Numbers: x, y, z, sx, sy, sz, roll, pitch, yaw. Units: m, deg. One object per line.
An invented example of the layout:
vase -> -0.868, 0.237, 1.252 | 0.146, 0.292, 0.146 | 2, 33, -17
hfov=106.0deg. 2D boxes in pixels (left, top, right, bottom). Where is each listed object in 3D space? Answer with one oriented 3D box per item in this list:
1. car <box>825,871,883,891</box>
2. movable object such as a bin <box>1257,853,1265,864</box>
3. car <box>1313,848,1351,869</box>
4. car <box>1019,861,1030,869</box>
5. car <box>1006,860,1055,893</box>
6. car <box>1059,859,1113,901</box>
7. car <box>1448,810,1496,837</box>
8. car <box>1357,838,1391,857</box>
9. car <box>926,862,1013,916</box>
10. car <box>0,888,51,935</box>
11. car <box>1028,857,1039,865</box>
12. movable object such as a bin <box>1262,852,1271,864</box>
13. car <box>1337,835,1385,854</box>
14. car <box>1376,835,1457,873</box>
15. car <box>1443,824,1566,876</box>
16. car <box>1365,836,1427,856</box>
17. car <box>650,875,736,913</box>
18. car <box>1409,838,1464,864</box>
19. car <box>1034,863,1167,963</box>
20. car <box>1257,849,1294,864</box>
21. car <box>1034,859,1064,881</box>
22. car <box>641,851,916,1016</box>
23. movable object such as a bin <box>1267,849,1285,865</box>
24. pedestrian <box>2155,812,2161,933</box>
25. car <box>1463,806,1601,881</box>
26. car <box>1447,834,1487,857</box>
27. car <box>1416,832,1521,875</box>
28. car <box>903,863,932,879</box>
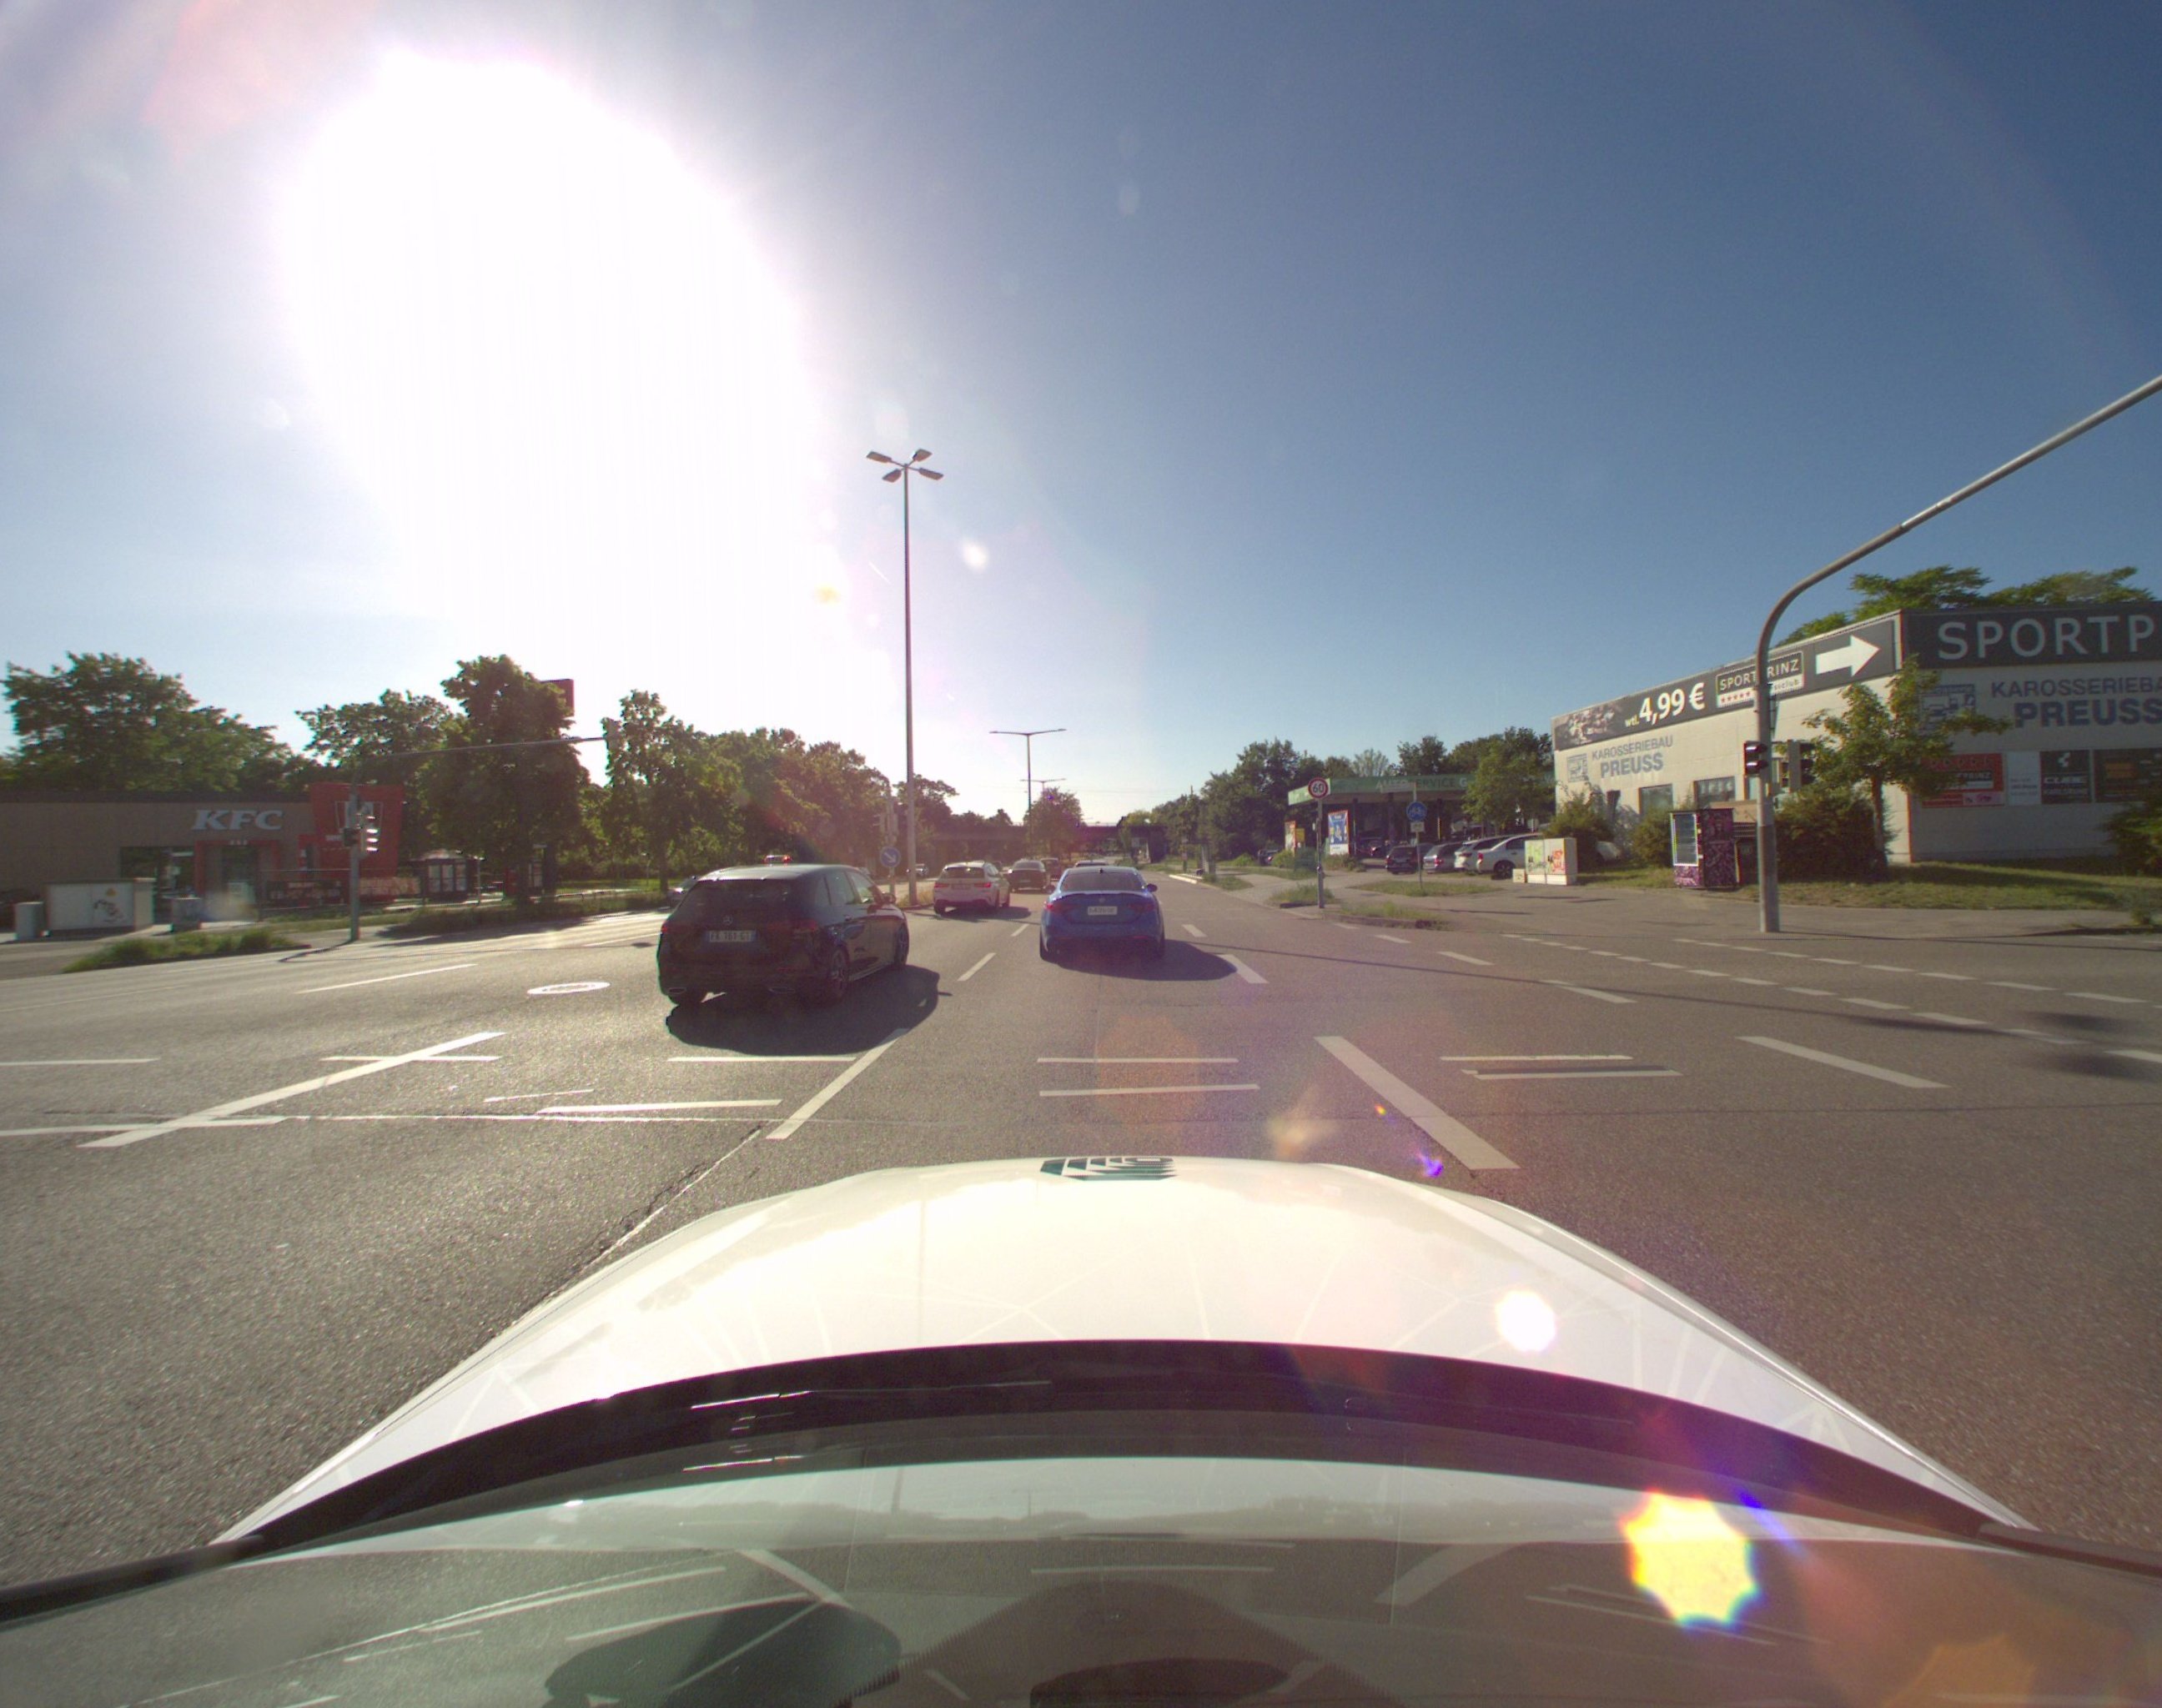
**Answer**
car -> -17.161, 2.028, 61.871 | 1.978, 1.376, 4.643 | -2, -1, 17
movable object such as a bin -> 16.979, 0.437, 76.817 | 0.585, 1.074, 0.504 | -1, 0, -40
car -> 19.424, 0.345, 63.231 | 1.737, 1.573, 4.251 | -2, 0, 3
car -> -10.992, 2.218, 159.572 | 1.635, 1.451, 4.112 | -4, -1, 1
car -> -2.303, 1.016, 38.184 | 1.876, 1.454, 4.527 | 0, -1, 1
car -> 0.231, 0.930, 30.907 | 1.876, 1.454, 4.527 | 0, -1, 1
car -> 29.394, -2.282, 61.373 | 1.911, 1.755, 3.780 | -3, -1, 3
car -> 27.143, -0.579, 75.540 | 1.707, 1.607, 4.137 | 0, -1, 2
car -> -3.255, 0.974, 24.555 | 1.876, 1.454, 4.527 | 0, -1, 1
car -> -41.491, 2.181, 31.114 | 1.905, 1.662, 4.192 | 0, -1, -41
car -> -10.005, 1.433, 170.885 | 1.811, 1.435, 4.632 | -4, -1, 1
movable object such as a bin -> 17.416, 0.409, 76.462 | 0.585, 1.121, 0.504 | -1, -1, -40
car -> 27.380, -0.897, 79.626 | 4.021, 1.531, 1.735 | -4, -1, 2
car -> 16.477, -0.017, 39.899 | 1.877, 1.531, 4.865 | -5, -1, 45
car -> 16.788, -0.157, 32.450 | 3.892, 1.452, 1.731 | -9, -2, 12
car -> 23.987, -0.583, 62.103 | 2.008, 1.486, 3.957 | 0, -1, -35
car -> -18.446, 1.846, 38.969 | 1.986, 1.525, 4.197 | -2, 0, 1
car -> 23.247, -0.170, 53.438 | 1.986, 1.647, 4.001 | 0, -1, 1
car -> 0.329, 0.859, 13.652 | 1.876, 1.406, 4.225 | 0, -1, 1
car -> 19.435, 0.249, 81.463 | 3.270, 1.486, 1.773 | 0, -1, 3
car -> -2.197, 1.086, 57.064 | 1.773, 1.454, 4.183 | -2, 0, 1
car -> -3.381, 0.800, 10.050 | 1.701, 1.598, 4.225 | 0, -1, 1
movable object such as a bin -> 18.102, 0.275, 75.615 | 0.994, 1.428, 1.245 | -1, 0, -41
pedestrian -> 13.549, 0.327, 9.644 | 0.754, 1.716, 0.618 | -2, -1, 1
car -> 16.098, -0.353, 29.145 | 3.948, 2.013, 1.697 | -10, -1, 34
car -> 25.322, -0.581, 53.383 | 1.671, 1.421, 3.727 | -1, 1, 36
car -> 16.842, -0.022, 35.541 | 3.592, 1.290, 1.842 | -9, -2, 2
car -> -16.980, 1.741, 84.588 | 1.986, 1.474, 4.197 | -2, -1, 1
